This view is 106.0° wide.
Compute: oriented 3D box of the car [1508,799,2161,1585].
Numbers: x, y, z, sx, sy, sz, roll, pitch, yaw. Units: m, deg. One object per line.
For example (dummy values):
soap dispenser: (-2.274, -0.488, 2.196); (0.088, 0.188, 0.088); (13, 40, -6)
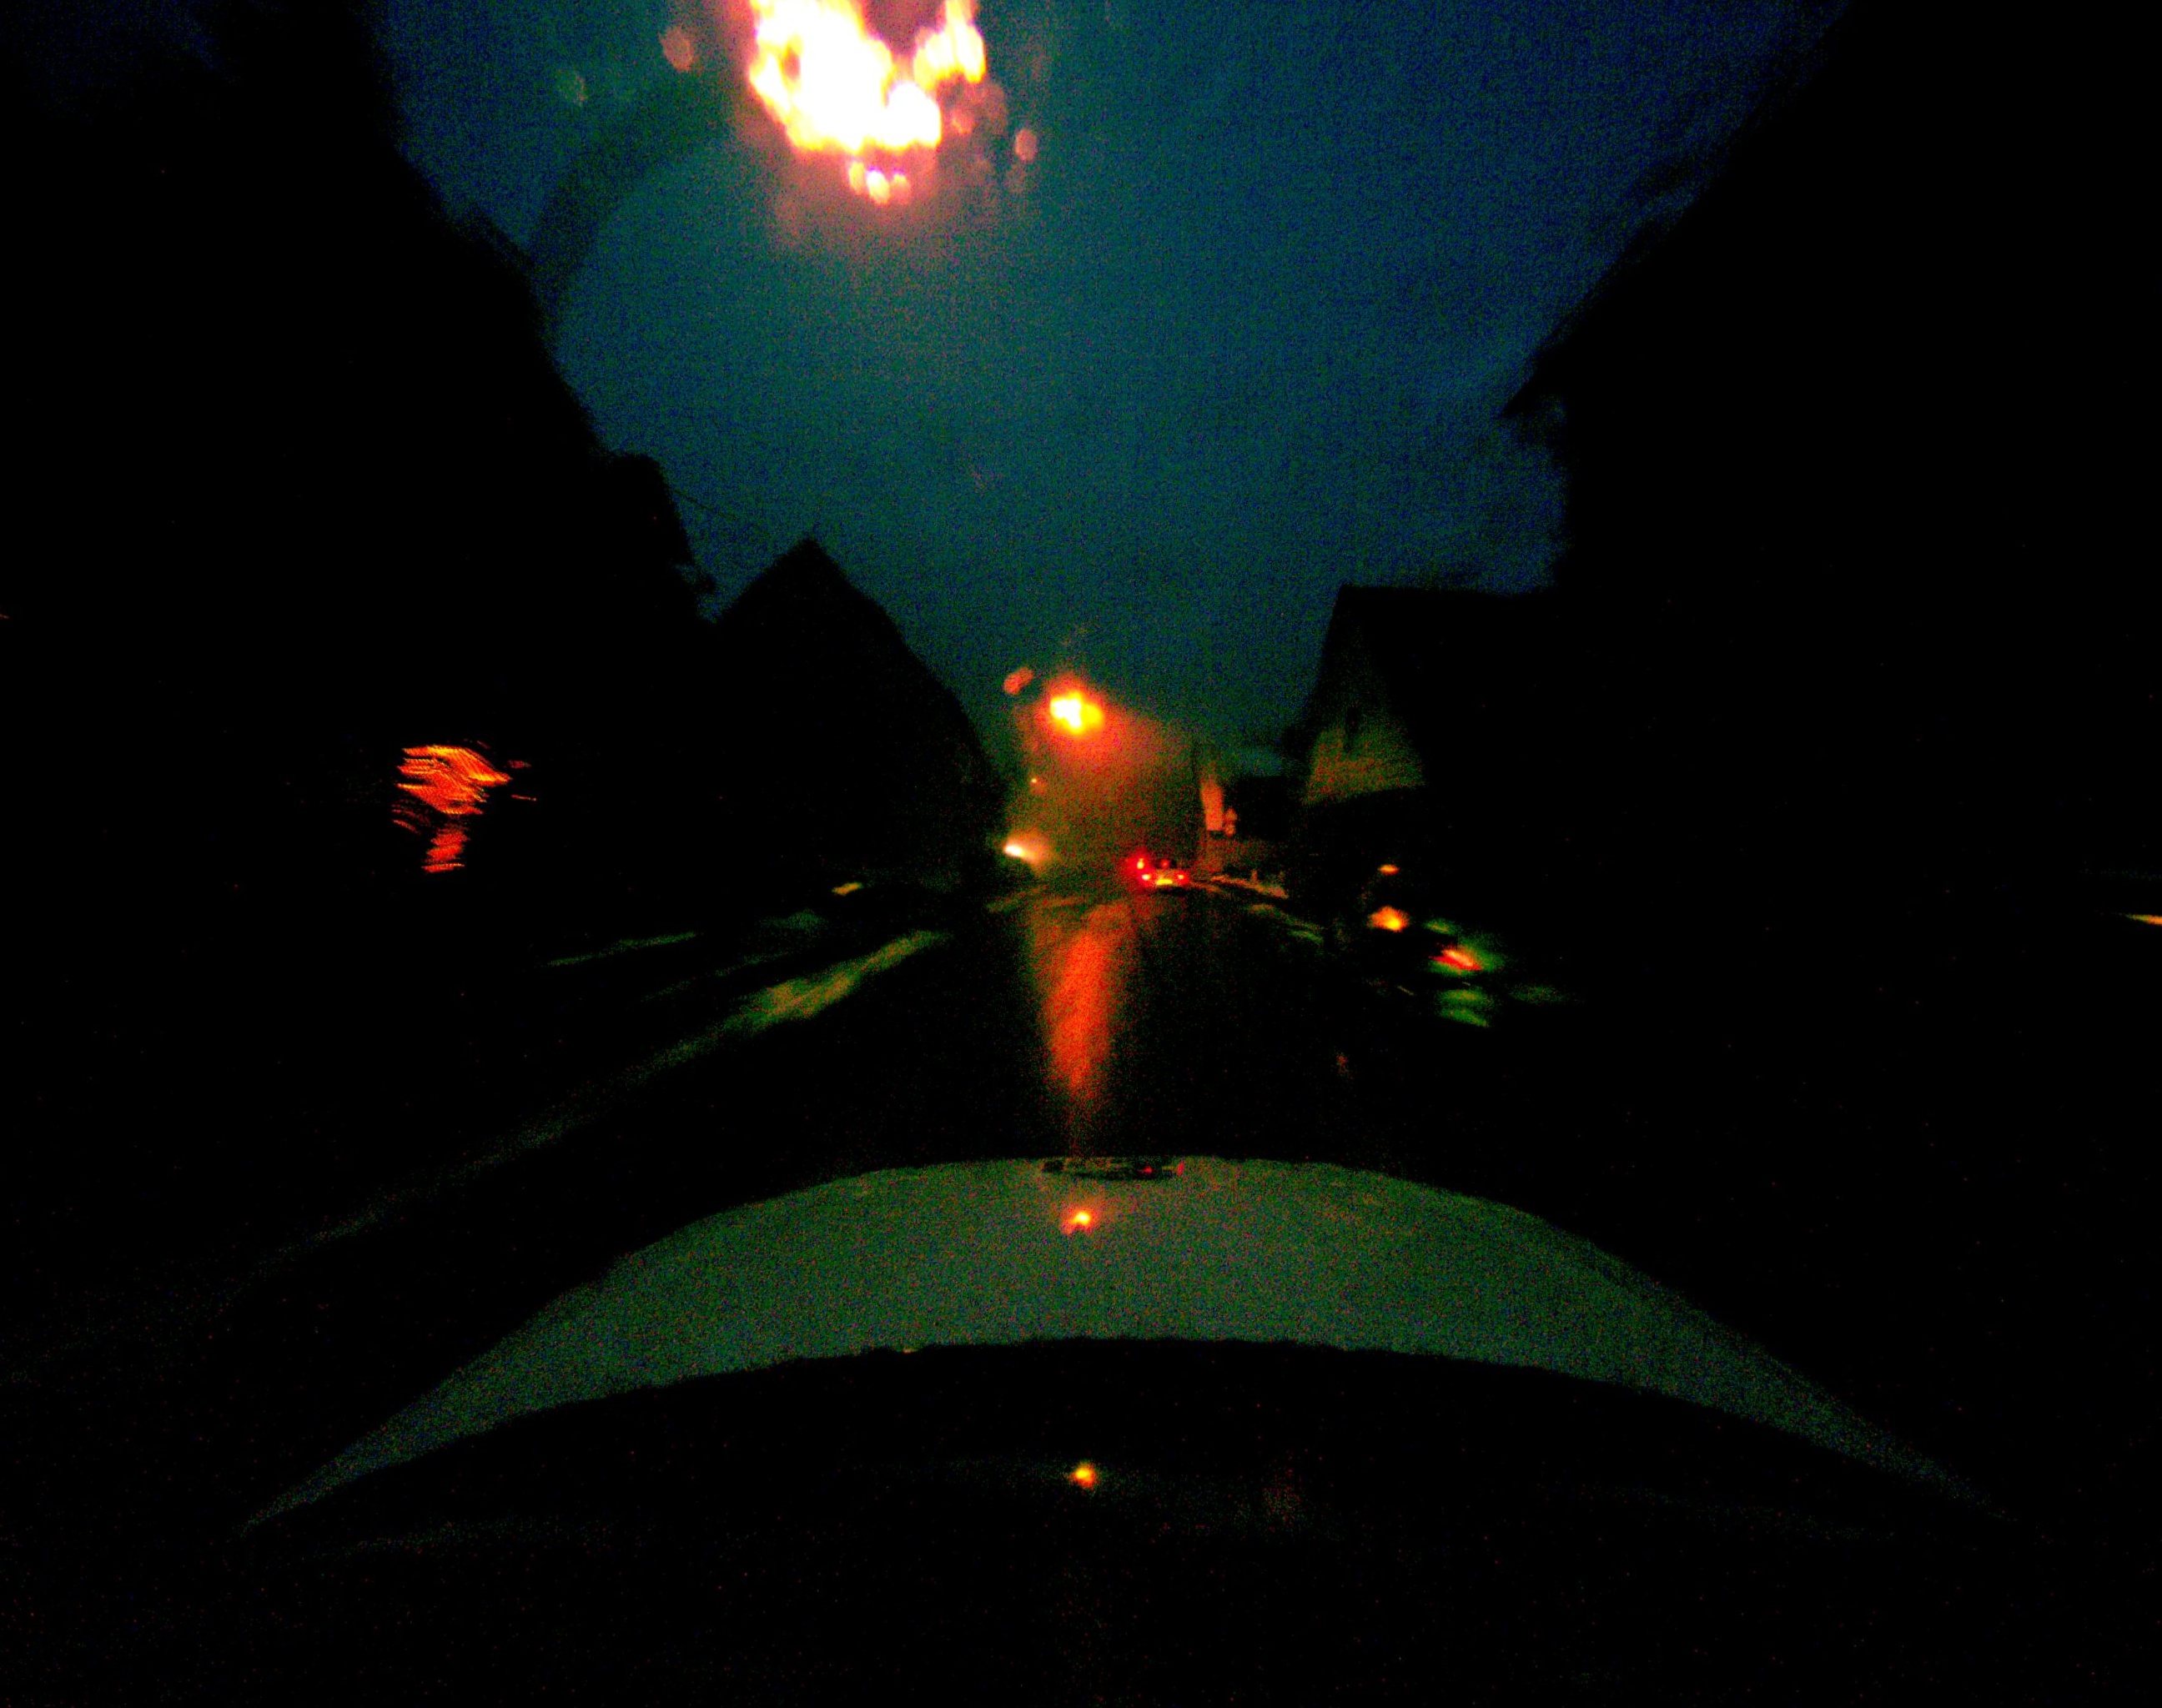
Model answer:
car: (3.001, 0.681, 2.375); (1.708, 1.500, 3.911); (1, -1, 5)

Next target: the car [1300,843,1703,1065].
car: (3.419, 0.698, 7.686); (1.901, 1.481, 4.287); (0, -1, 5)

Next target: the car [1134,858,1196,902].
car: (3.148, 1.005, 31.401); (1.987, 1.508, 4.000); (3, -2, 1)

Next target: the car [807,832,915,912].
car: (-5.636, 0.443, 21.439); (1.761, 1.736, 4.632); (5, -1, -4)

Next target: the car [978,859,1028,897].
car: (-3.628, 1.090, 38.658); (1.988, 1.522, 4.188); (2, 1, -2)
